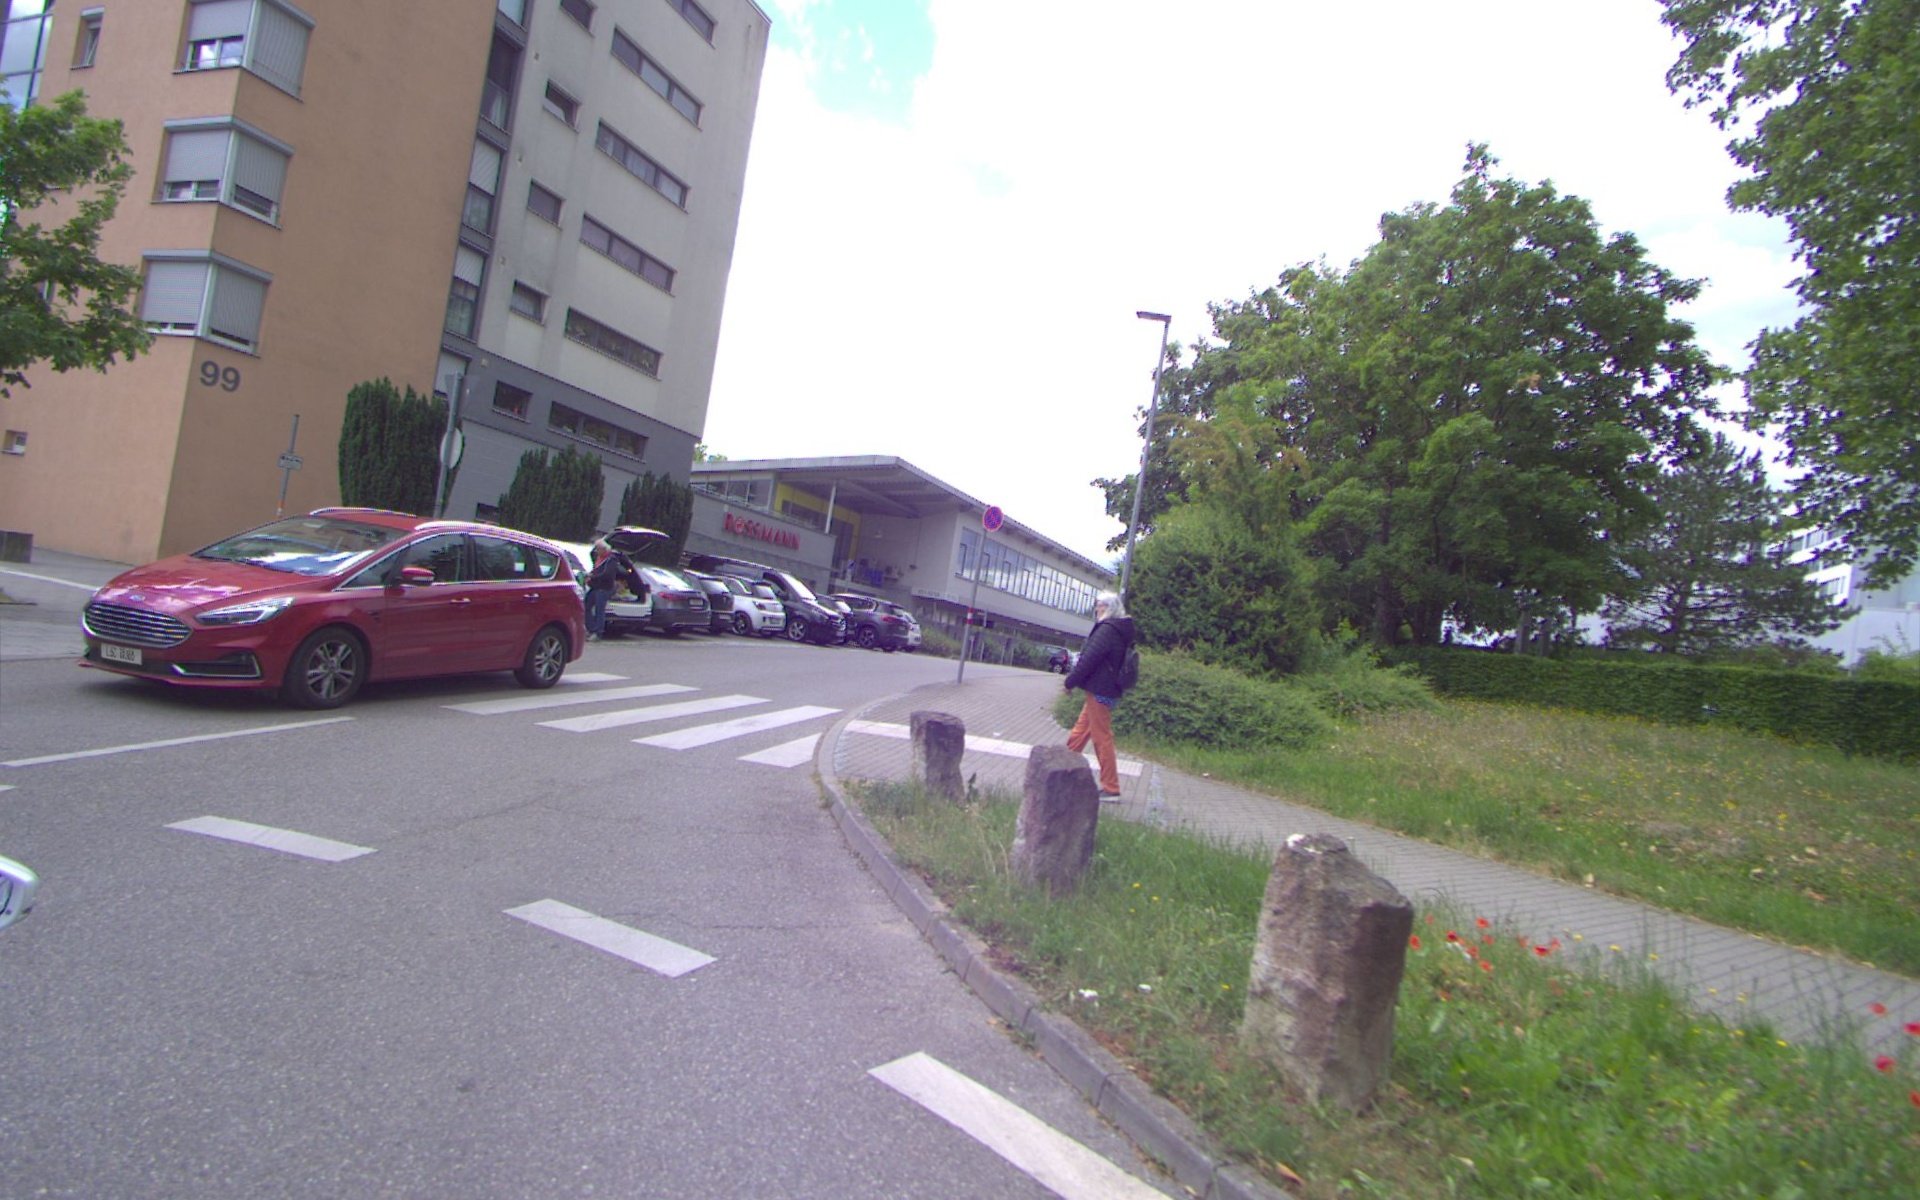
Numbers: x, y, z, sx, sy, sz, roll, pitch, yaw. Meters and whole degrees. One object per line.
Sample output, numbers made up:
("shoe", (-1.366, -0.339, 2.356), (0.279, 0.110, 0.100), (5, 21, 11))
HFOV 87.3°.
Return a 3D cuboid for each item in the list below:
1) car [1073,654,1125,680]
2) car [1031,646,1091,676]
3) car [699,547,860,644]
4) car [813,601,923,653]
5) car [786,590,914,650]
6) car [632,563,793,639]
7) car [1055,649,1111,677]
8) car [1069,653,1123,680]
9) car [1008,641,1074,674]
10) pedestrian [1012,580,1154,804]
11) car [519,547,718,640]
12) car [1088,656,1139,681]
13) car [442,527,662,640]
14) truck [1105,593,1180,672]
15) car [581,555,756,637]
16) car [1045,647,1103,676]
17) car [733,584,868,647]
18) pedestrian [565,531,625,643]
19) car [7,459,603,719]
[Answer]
("car", (9.762, 4.665, 70.563), (3.237, 1.407, 1.509), (7, 1, 21))
("car", (6.161, 3.706, 61.180), (3.237, 1.407, 1.509), (7, 1, 21))
("car", (-5.118, -0.109, 28.585), (3.904, 2.185, 1.831), (7, -2, 21))
("car", (-3.480, 1.026, 38.078), (3.707, 1.500, 1.641), (7, 1, 21))
("car", (-3.614, 0.648, 33.013), (3.707, 1.500, 1.641), (7, 1, 21))
("car", (-6.453, 0.030, 26.274), (3.707, 1.500, 1.641), (7, 1, 21))
("car", (8.054, 4.102, 65.835), (3.237, 1.407, 1.509), (7, 1, 21))
("car", (9.179, 4.471, 67.895), (3.237, 1.407, 1.509), (7, 1, 21))
("car", (4.545, 3.230, 56.449), (3.237, 1.407, 1.509), (7, 1, 21))
("pedestrian", (1.028, 0.746, 8.321), (0.825, 1.684, 0.615), (7, -1, 25))
("car", (-7.218, -0.138, 21.296), (3.707, 1.500, 1.641), (7, 1, 21))
("car", (11.026, 4.913, 72.353), (3.237, 1.407, 1.509), (7, 1, 21))
("car", (-7.772, -0.308, 19.172), (3.707, 1.680, 1.572), (7, 1, 21))
("truck", (7.409, 1.404, 40.371), (2.029, 2.636, 5.815), (7, -2, 17))
("car", (-7.017, -0.094, 24.216), (3.707, 1.500, 1.641), (7, 1, 21))
("car", (7.165, 3.844, 63.304), (3.237, 1.407, 1.509), (7, 1, 21))
("car", (-4.954, 0.486, 31.344), (3.707, 1.500, 1.641), (7, 1, 21))
("pedestrian", (-6.264, -0.209, 17.288), (0.476, 1.833, 0.583), (7, -1, 24))
("car", (-5.611, -0.052, 9.515), (1.942, 1.665, 4.537), (7, 0, 13))
